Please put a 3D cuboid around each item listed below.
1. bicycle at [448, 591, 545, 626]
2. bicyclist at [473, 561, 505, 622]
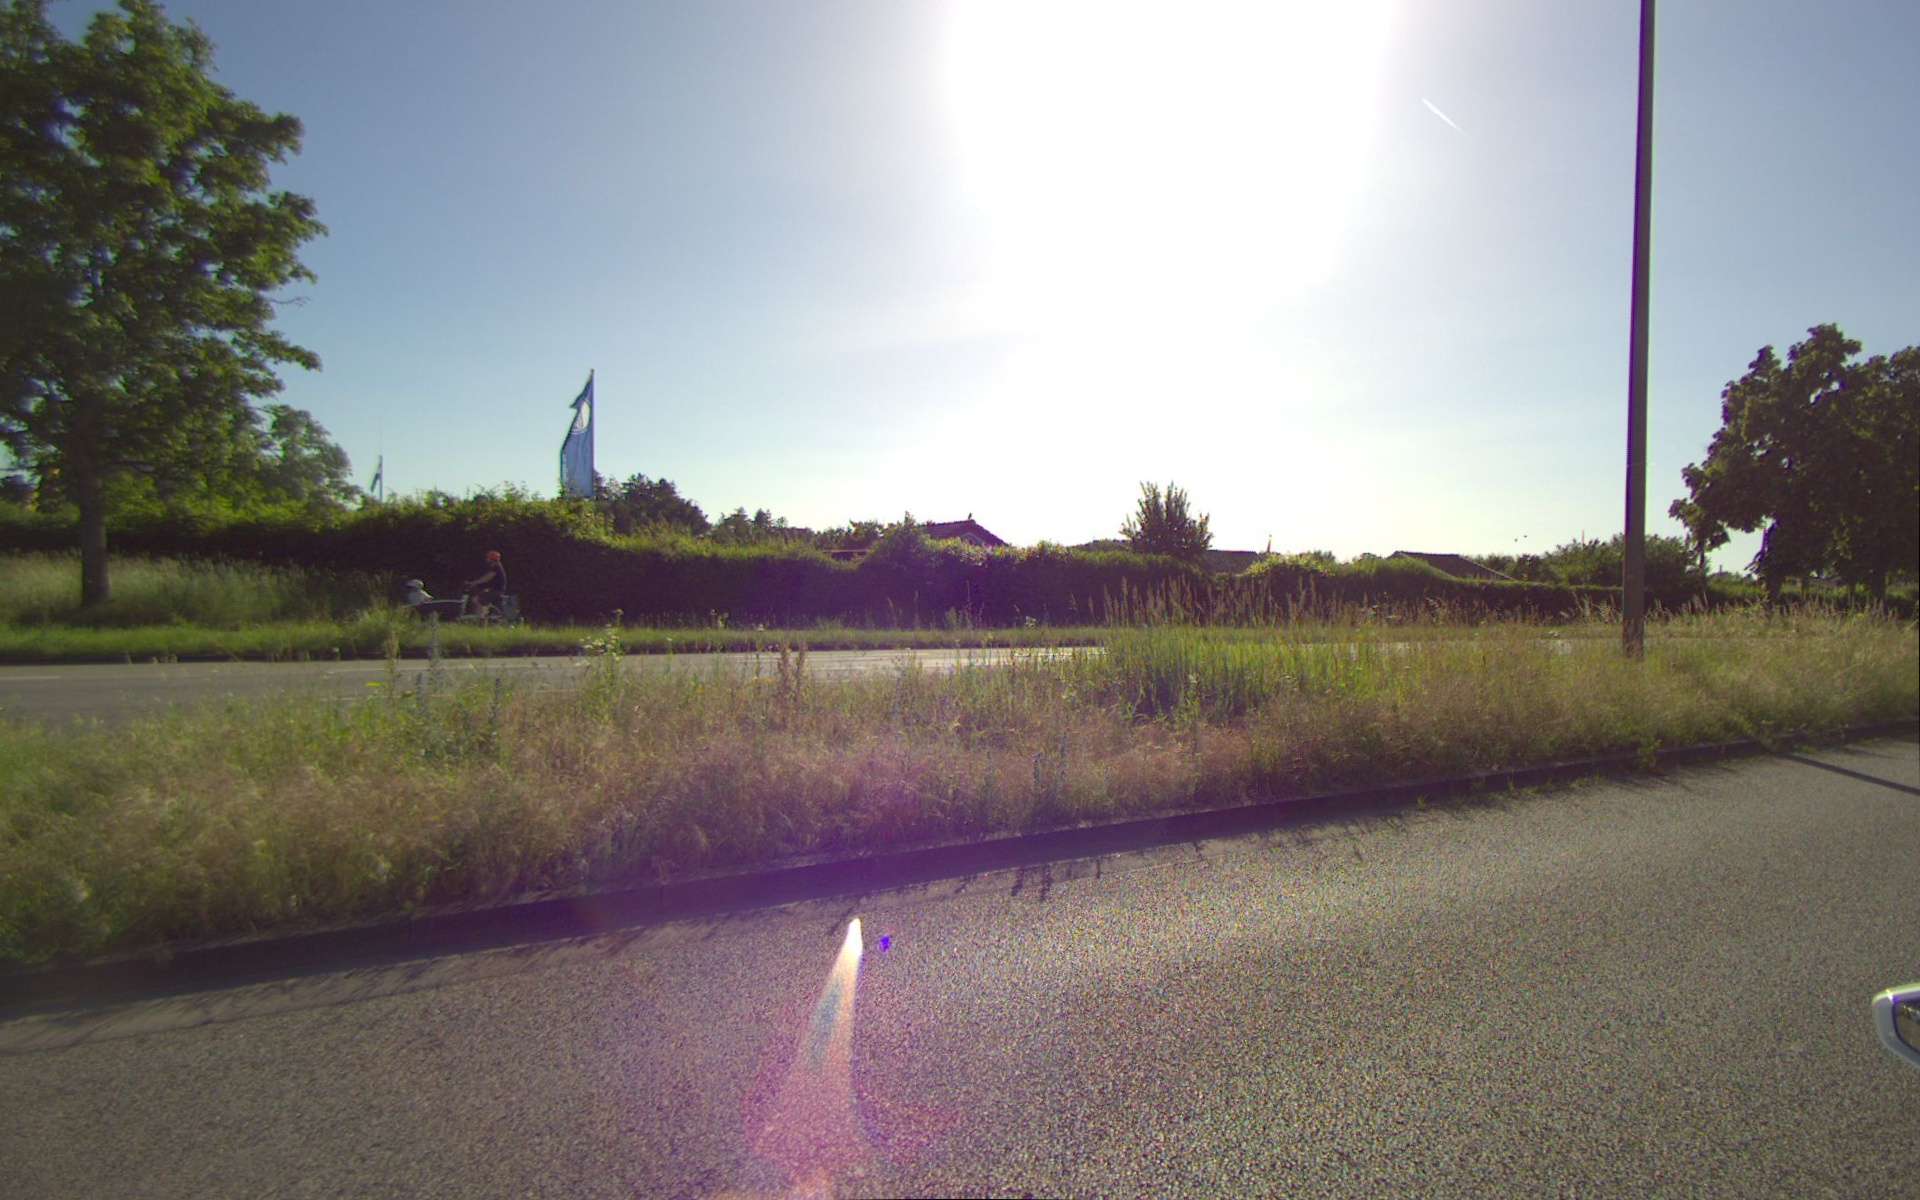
[{"bbox_3d":[-9.847,0.192,21.394,1.848,0.704,0.563,1,2,-24],"label":"bicycle"},{"bbox_3d":[-9.991,-0.190,21.311,0.568,1.274,0.581,1,2,-23],"label":"bicyclist"}]
